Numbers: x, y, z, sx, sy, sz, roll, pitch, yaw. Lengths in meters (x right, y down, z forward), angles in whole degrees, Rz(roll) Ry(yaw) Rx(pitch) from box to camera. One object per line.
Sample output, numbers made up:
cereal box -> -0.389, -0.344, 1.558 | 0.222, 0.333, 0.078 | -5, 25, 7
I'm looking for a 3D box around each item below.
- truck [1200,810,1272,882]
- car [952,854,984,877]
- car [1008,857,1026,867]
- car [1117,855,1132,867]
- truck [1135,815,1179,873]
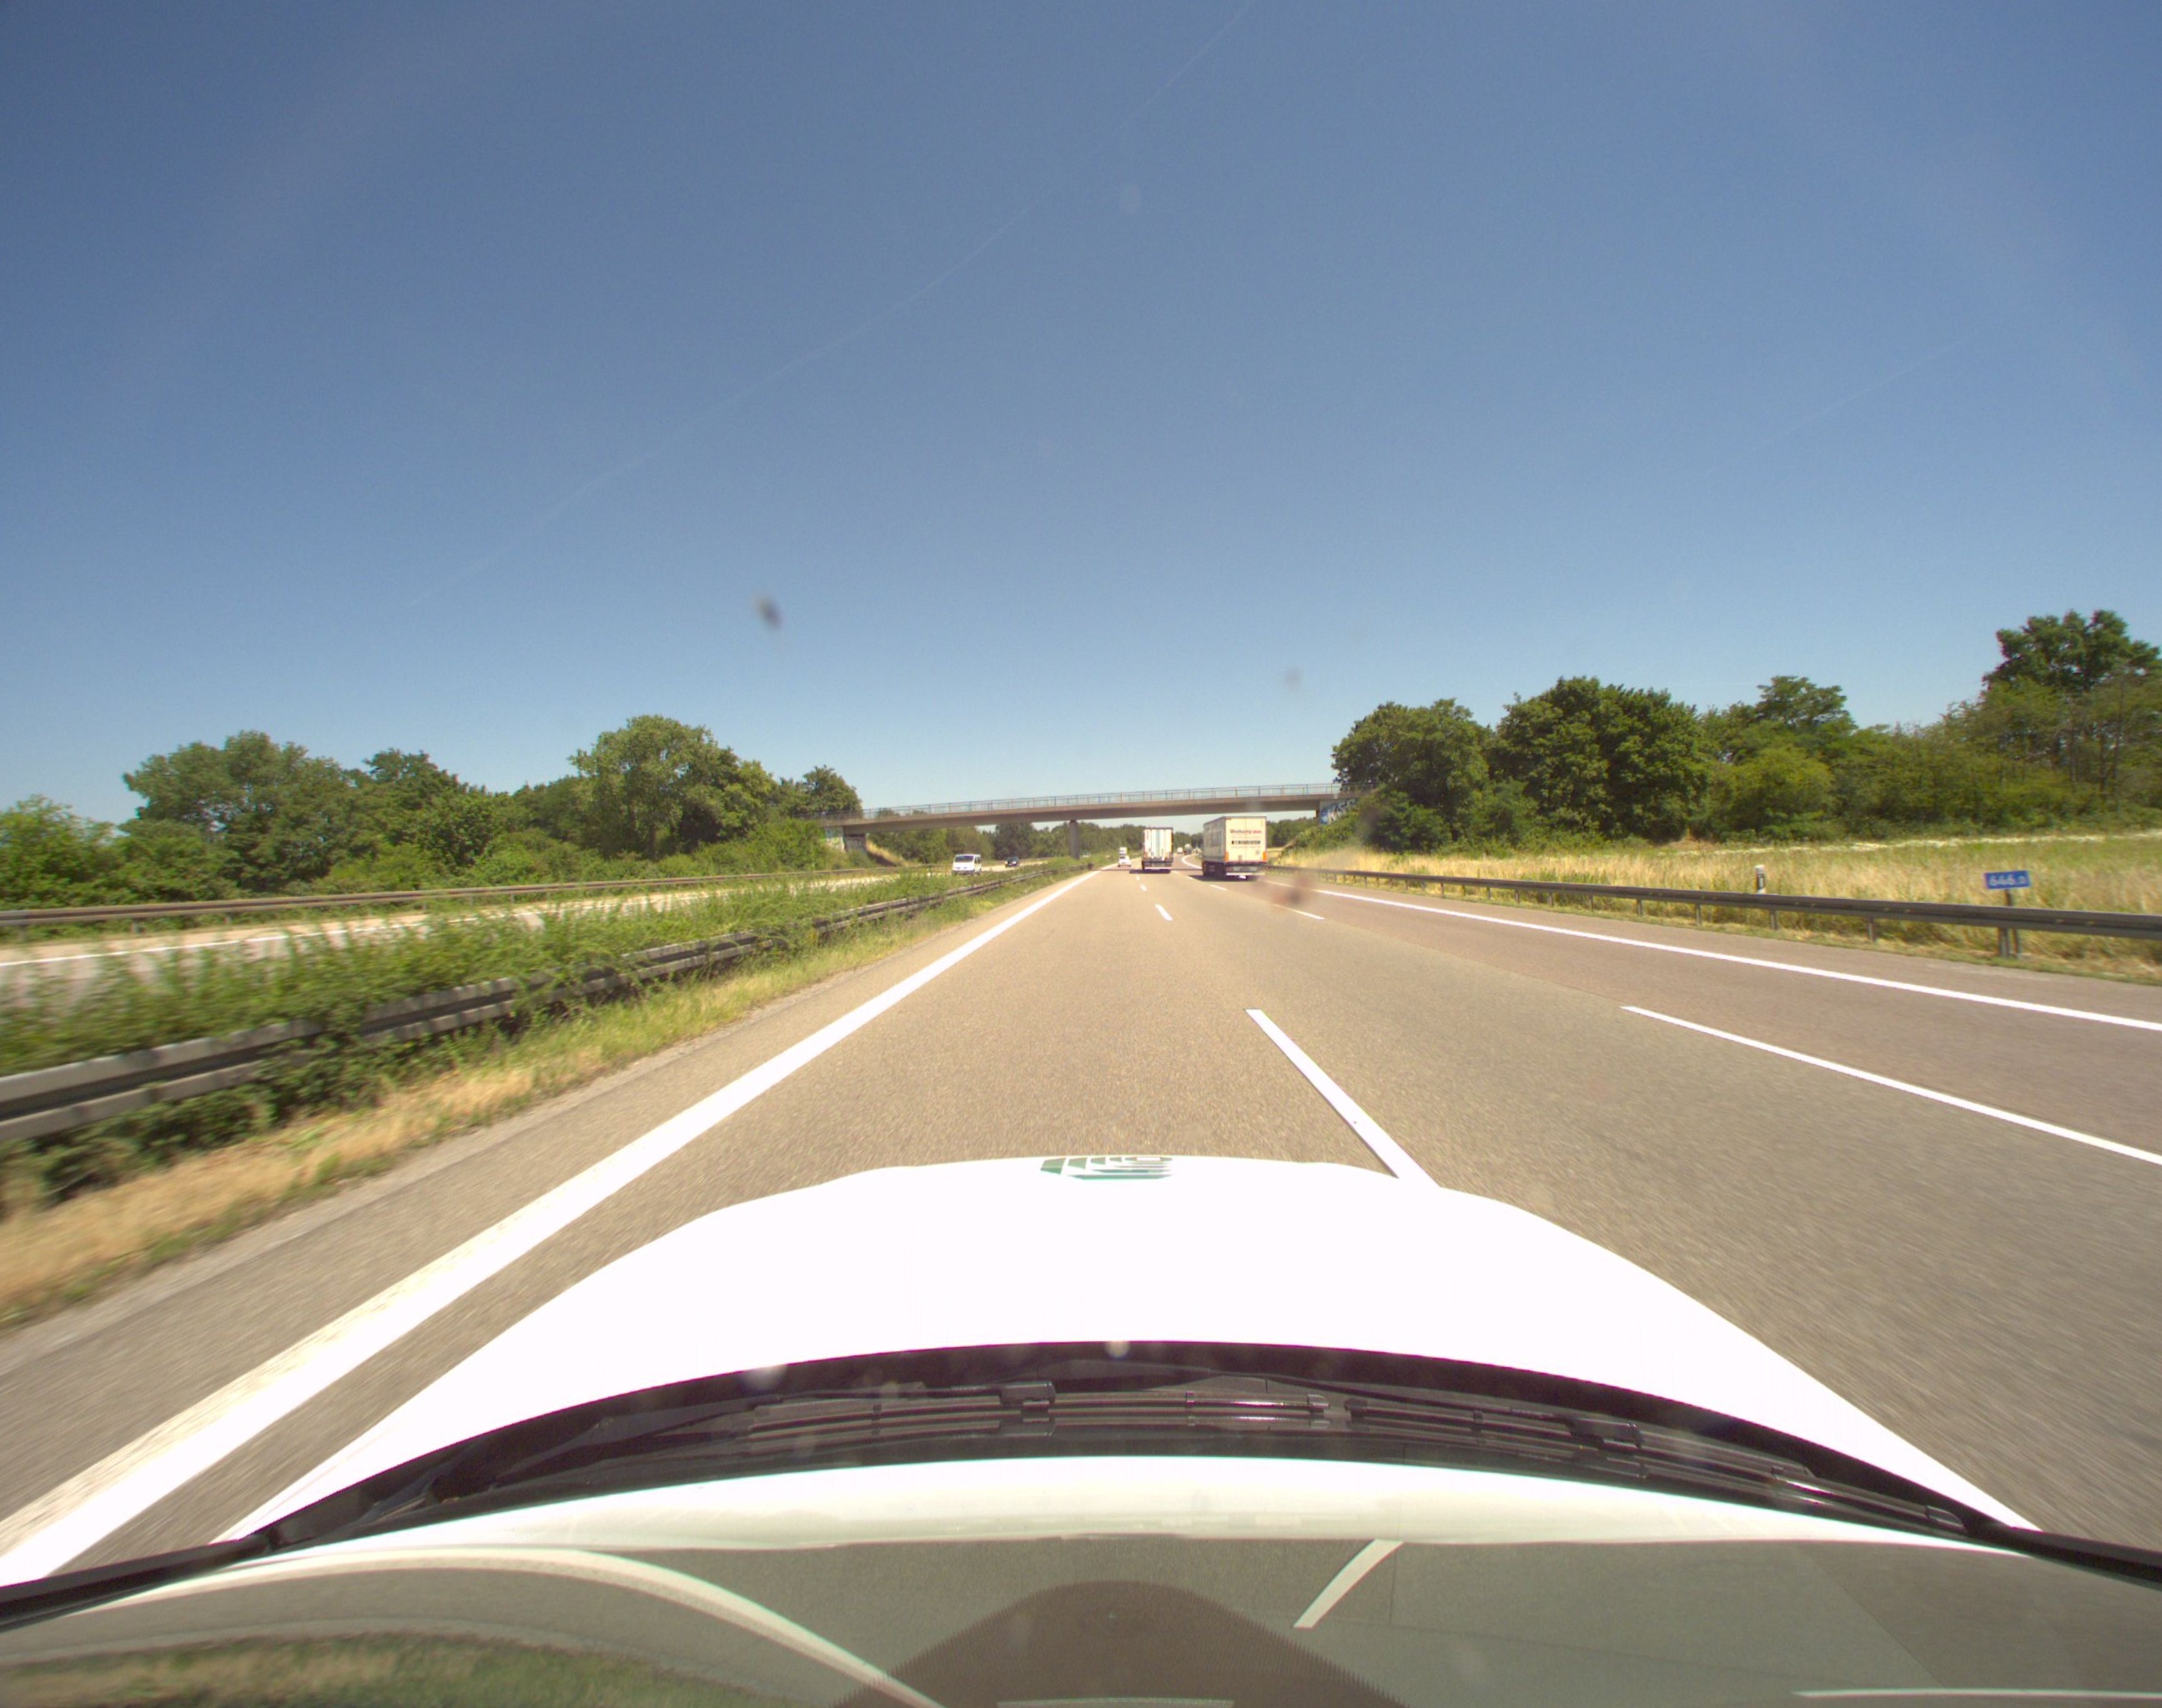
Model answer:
truck -> 10.455, -0.530, 56.882 | 3.166, 4.304, 16.037 | -1, 0, 5
car -> -9.977, 1.006, 72.382 | 1.820, 2.014, 5.334 | 0, 0, 3
car -> -9.482, 1.226, 120.618 | 1.818, 1.461, 4.326 | 0, 0, 6
car -> 5.908, 0.908, 109.517 | 1.819, 1.547, 4.326 | 0, 0, 6
truck -> 7.198, -0.901, 78.287 | 3.649, 5.018, 16.037 | -1, 0, 5
